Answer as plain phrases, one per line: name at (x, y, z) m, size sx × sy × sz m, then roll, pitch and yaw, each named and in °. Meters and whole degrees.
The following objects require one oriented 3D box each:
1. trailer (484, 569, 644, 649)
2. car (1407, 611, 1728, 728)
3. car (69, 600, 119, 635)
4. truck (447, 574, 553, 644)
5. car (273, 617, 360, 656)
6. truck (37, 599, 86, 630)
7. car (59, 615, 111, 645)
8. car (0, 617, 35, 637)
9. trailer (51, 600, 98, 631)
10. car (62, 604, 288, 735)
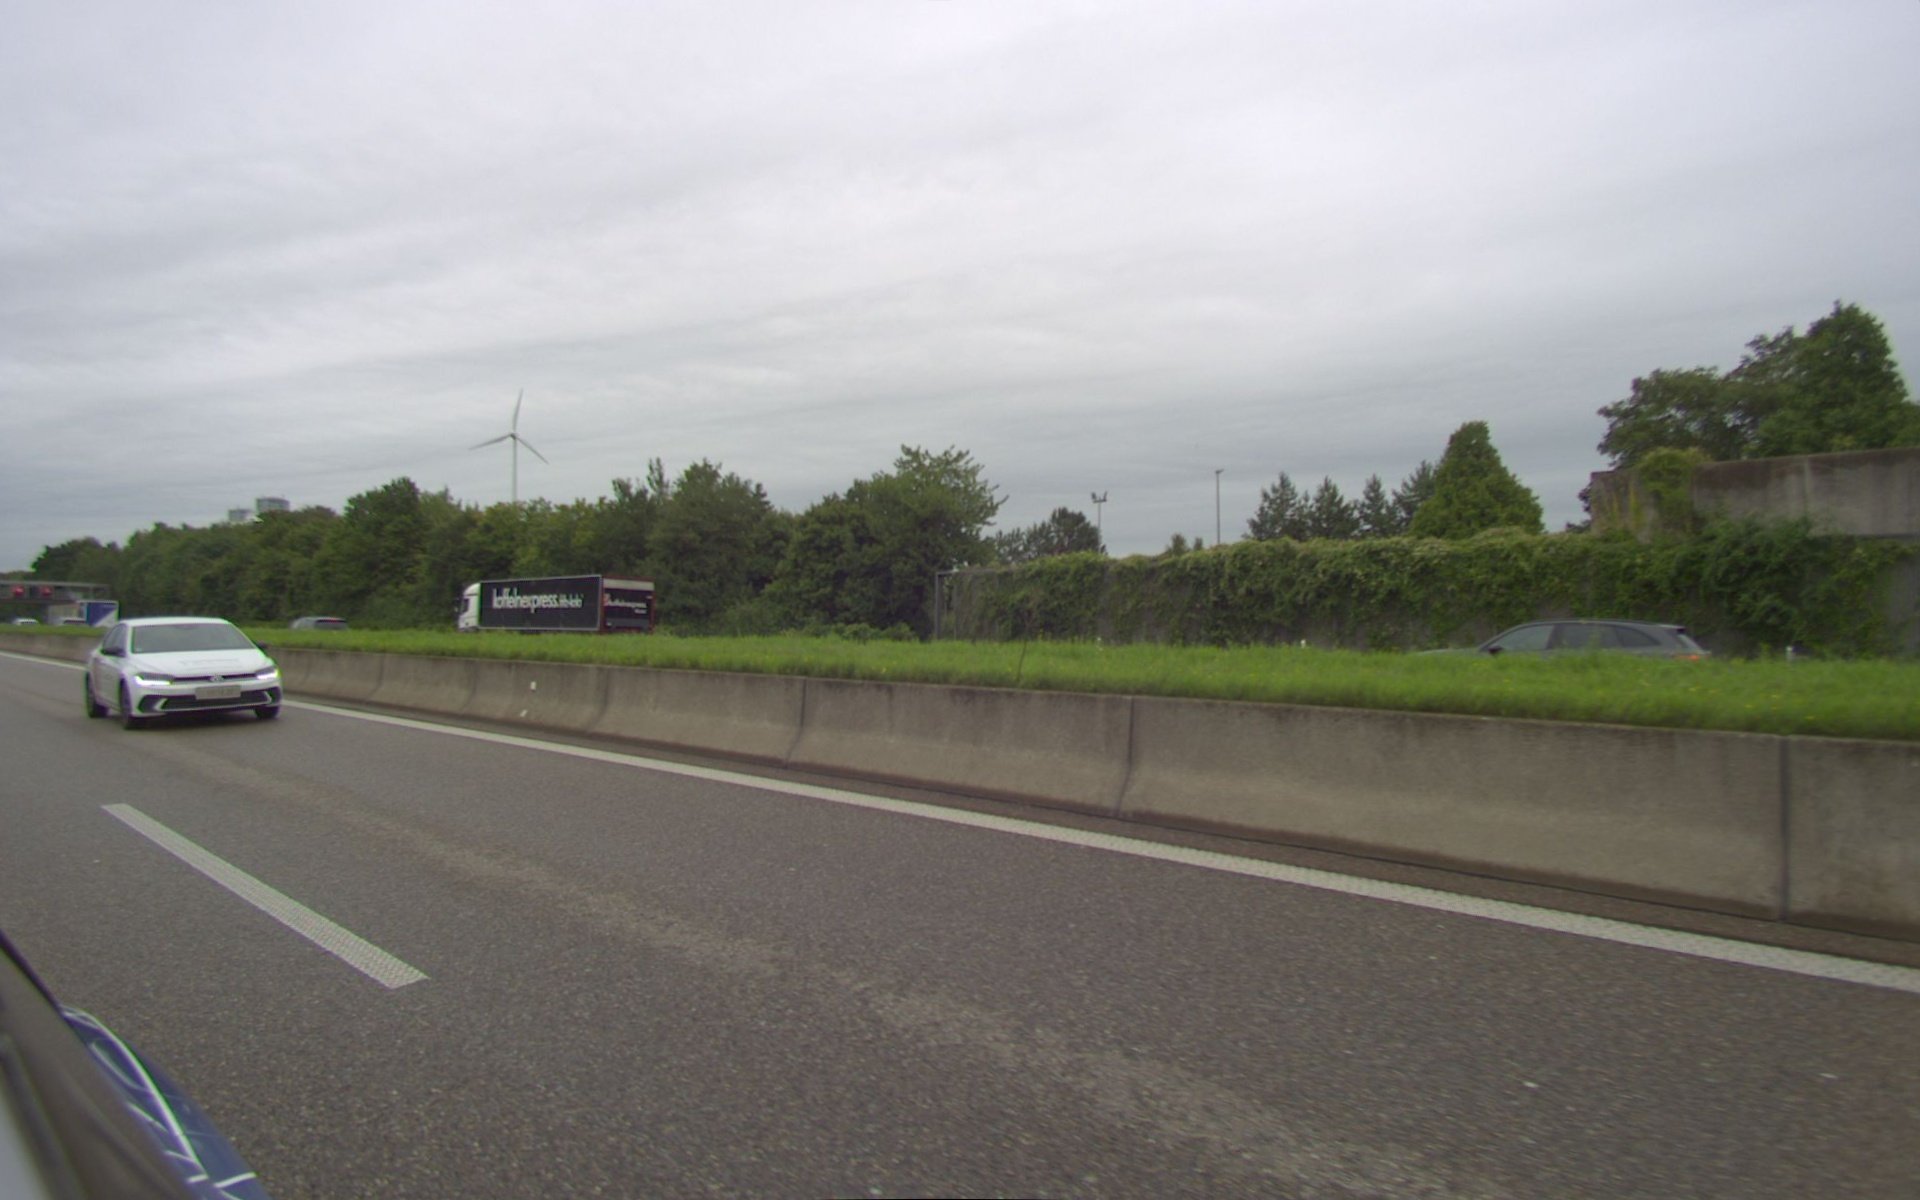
trailer at (-18.194, 0.404, 45.943) m, size 10.560 × 3.314 × 2.282 m, roll -1°, pitch 0°, yaw 42°
car at (9.845, 1.019, 16.589) m, size 4.290 × 1.645 × 1.765 m, roll -1°, pitch 0°, yaw 40°
car at (-73.048, 1.440, 85.325) m, size 7.313 × 2.755 × 2.297 m, roll -1°, pitch 0°, yaw 42°
truck at (-22.897, 0.432, 50.240) m, size 6.580 × 3.297 × 2.291 m, roll -1°, pitch 0°, yaw 42°
car at (-28.130, 1.559, 44.208) m, size 4.739 × 1.620 × 1.973 m, roll -1°, pitch -1°, yaw 41°
truck at (-101.406, 1.600, 114.121) m, size 11.355 × 3.245 × 2.853 m, roll -1°, pitch 0°, yaw 42°
car at (-61.529, 2.083, 71.139) m, size 4.515 × 2.029 × 2.099 m, roll -1°, pitch -1°, yaw 40°
car at (-82.475, 2.330, 88.536) m, size 4.147 × 1.674 × 1.803 m, roll -1°, pitch 0°, yaw 41°
trailer at (-94.262, 1.653, 107.646) m, size 7.869 × 3.100 × 2.748 m, roll -1°, pitch 0°, yaw 41°
car at (-11.551, 0.909, 14.770) m, size 4.661 × 1.630 × 1.735 m, roll -1°, pitch -1°, yaw 41°
